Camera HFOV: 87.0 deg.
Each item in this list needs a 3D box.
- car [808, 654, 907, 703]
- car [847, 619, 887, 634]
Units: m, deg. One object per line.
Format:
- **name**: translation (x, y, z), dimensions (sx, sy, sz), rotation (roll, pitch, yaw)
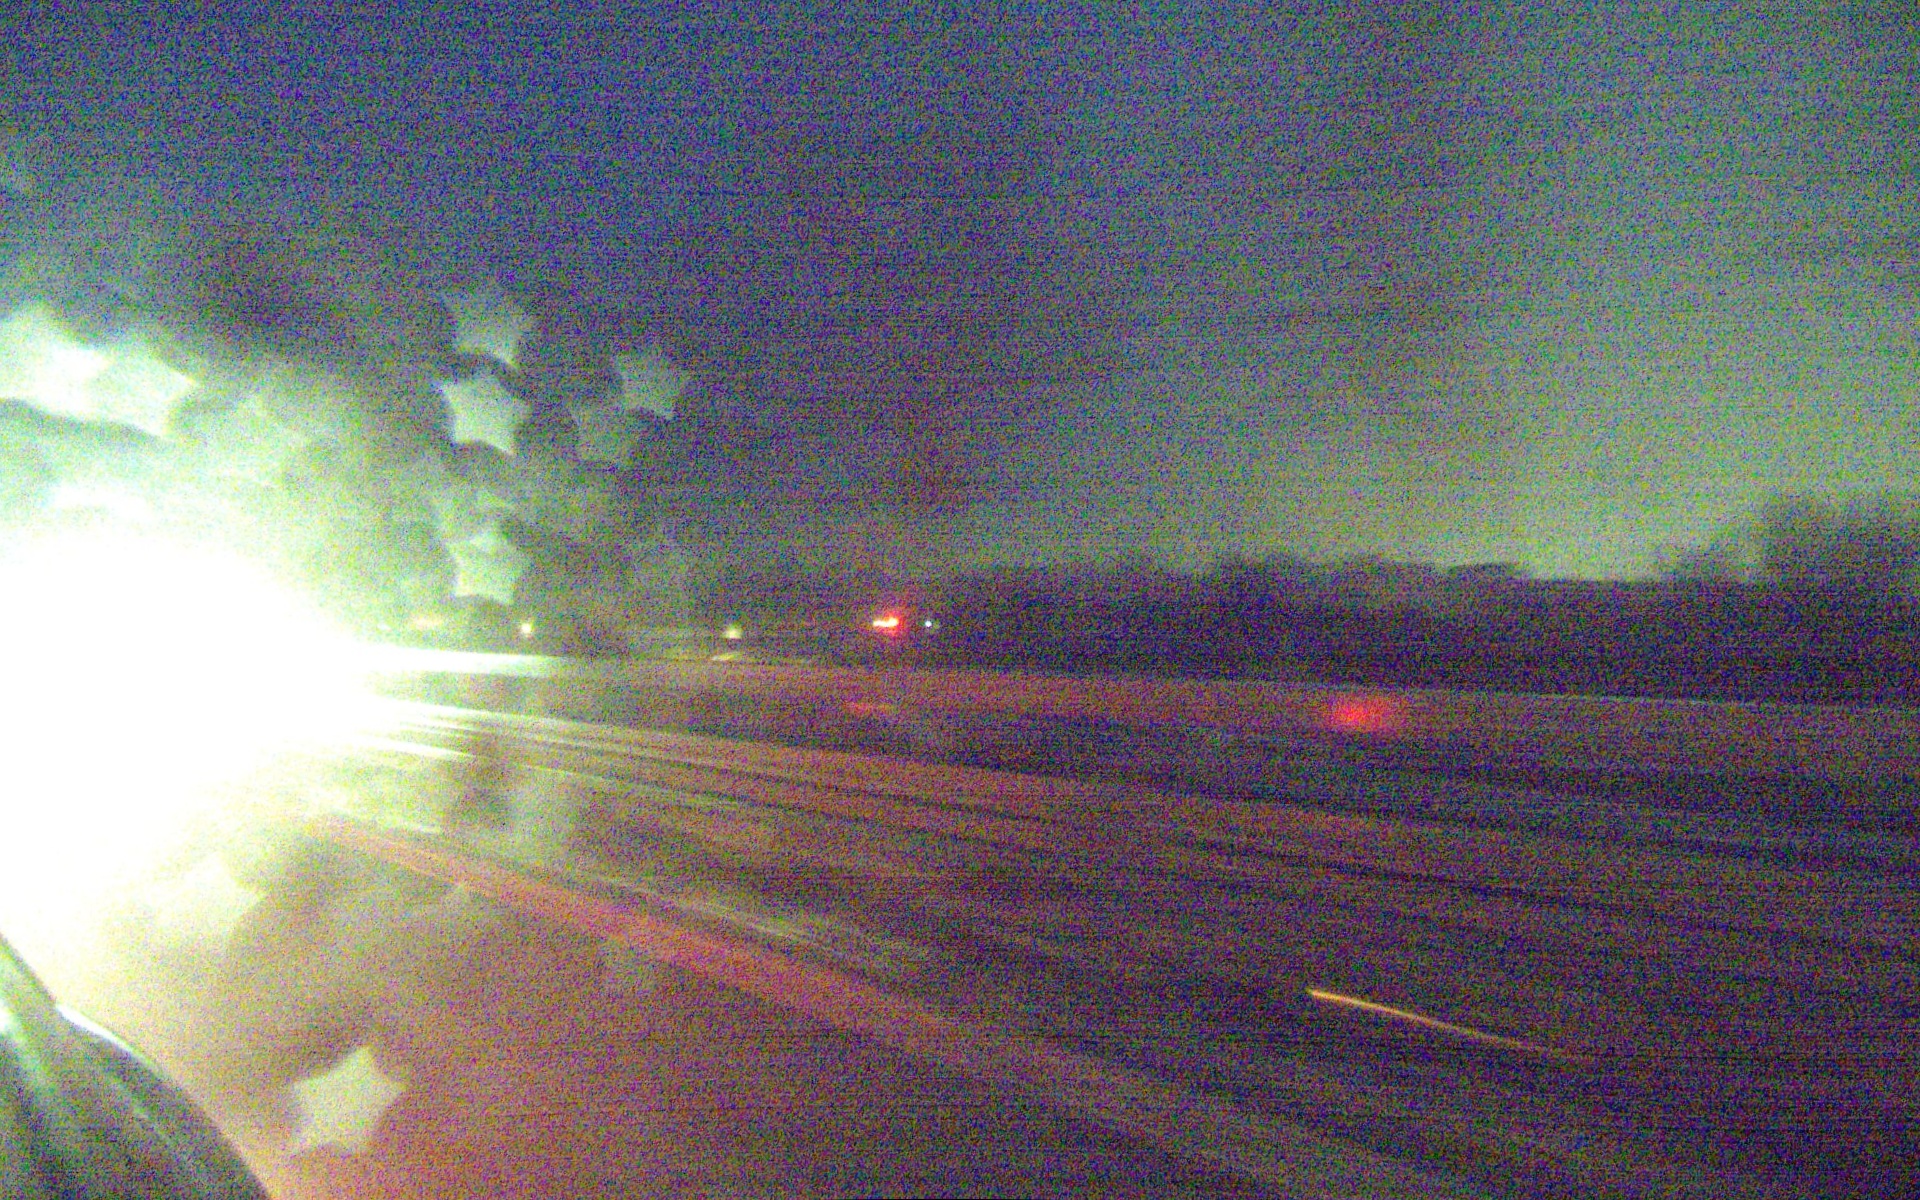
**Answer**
- **car**: translation (-3.565, 2.657, 34.684), dimensions (1.703, 1.408, 3.939), rotation (4, -2, -33)
- **car**: translation (-10.061, 2.820, 109.388), dimensions (4.040, 1.552, 1.896), rotation (0, 0, -18)
